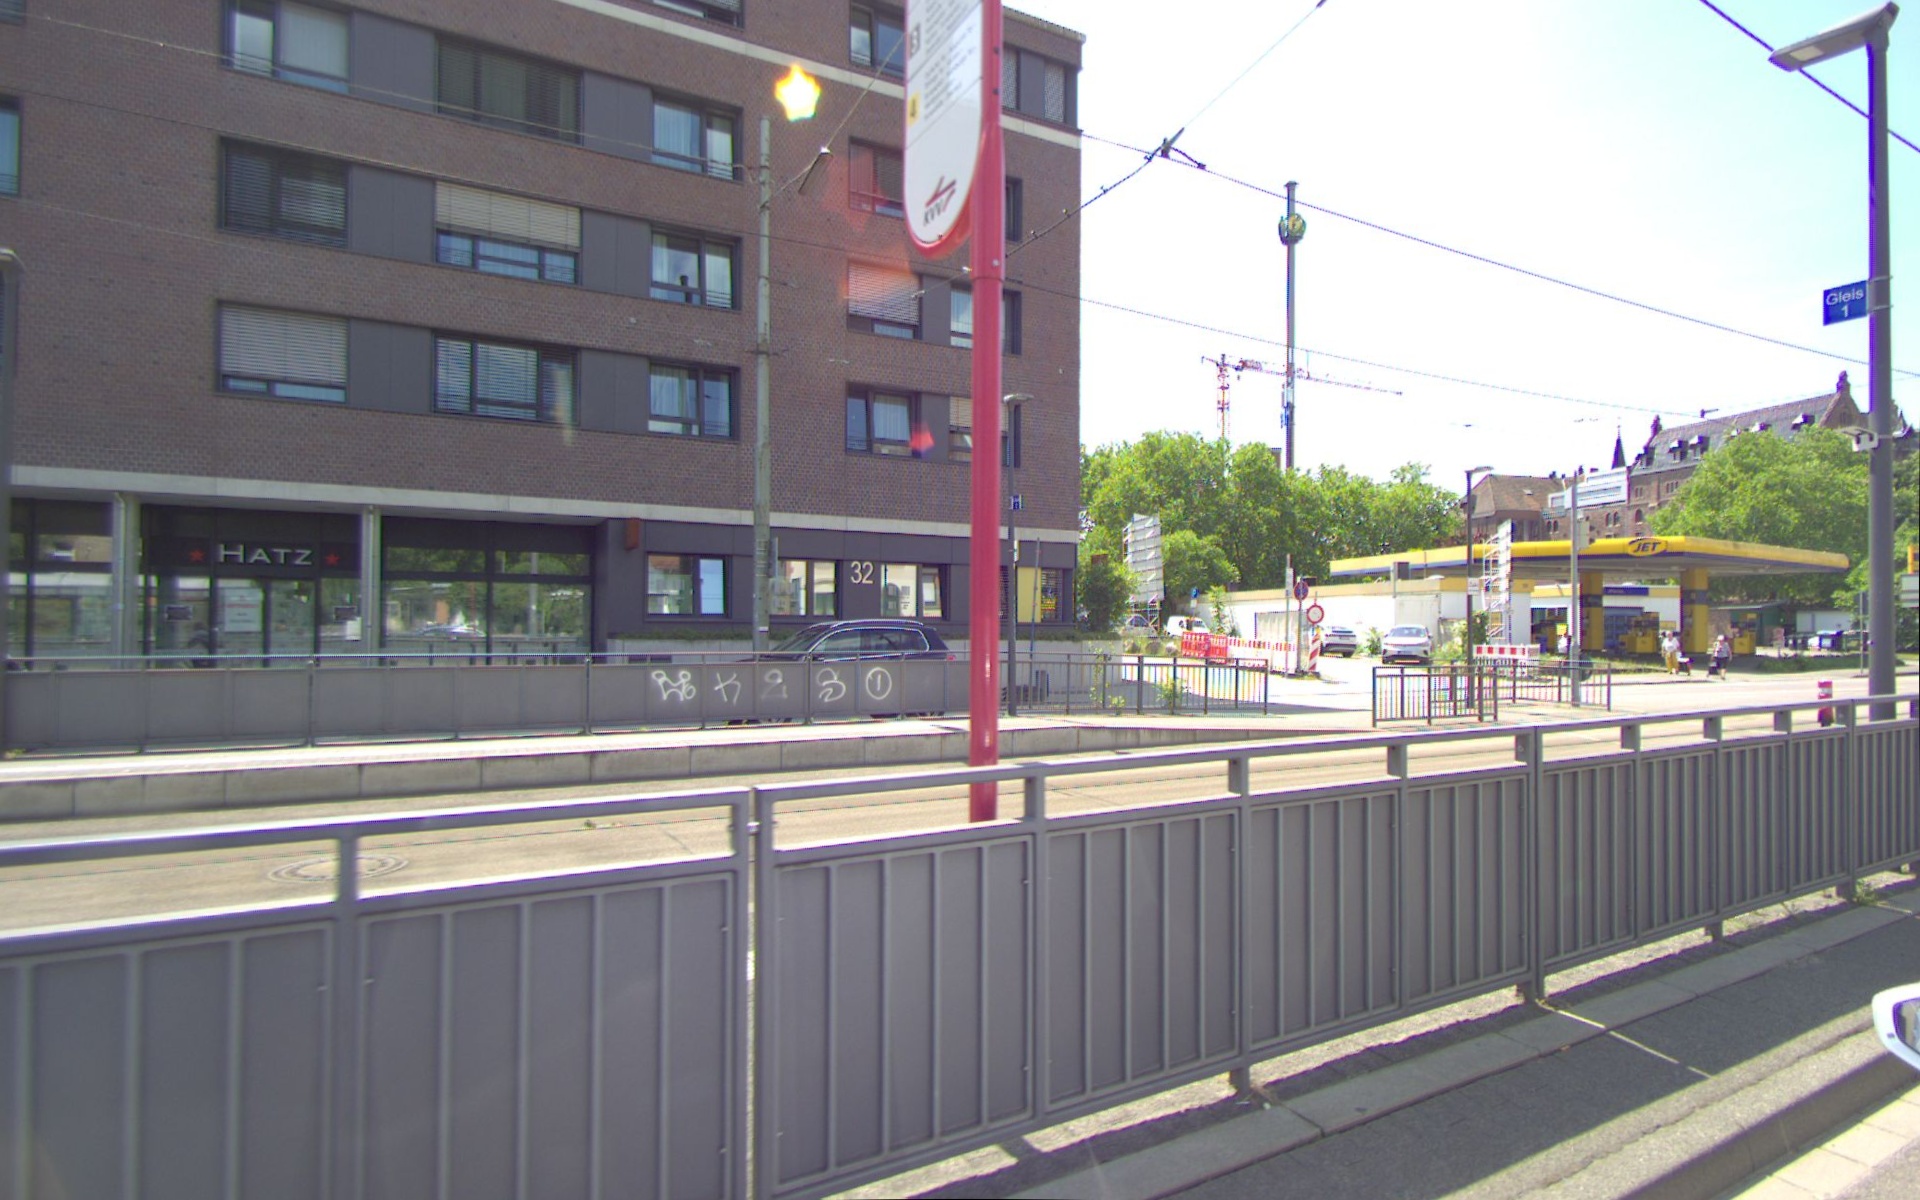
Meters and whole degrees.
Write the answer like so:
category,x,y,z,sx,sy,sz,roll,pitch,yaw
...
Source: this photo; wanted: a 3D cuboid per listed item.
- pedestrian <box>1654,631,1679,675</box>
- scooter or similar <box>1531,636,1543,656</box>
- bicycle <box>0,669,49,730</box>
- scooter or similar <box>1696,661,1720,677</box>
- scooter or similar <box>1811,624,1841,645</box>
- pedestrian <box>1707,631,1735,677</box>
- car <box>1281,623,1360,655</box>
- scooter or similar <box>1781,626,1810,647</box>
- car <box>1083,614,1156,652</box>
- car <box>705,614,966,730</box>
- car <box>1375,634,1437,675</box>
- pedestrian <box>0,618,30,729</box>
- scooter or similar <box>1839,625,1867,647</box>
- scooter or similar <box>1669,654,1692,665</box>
category,x,y,z,sx,sy,sz,roll,pitch,yaw
pedestrian,27.188,2.019,38.634,0.664,1.680,0.550,1,-1,-29
scooter or similar,27.283,2.162,47.522,0.323,0.942,0.403,1,-1,-33
bicycle,-12.461,1.274,12.821,1.172,0.771,0.291,2,-4,-28
scooter or similar,28.138,2.592,37.776,0.622,0.588,0.475,1,-1,-25
scooter or similar,61.073,2.446,70.839,1.044,1.486,1.310,2,-2,-24
pedestrian,28.038,1.978,37.014,0.659,1.693,0.578,1,-1,-28
car,17.581,1.861,49.158,1.729,1.482,4.006,1,-1,-14
scooter or similar,60.682,2.621,72.963,1.044,1.486,1.310,1,-2,-24
car,8.889,1.816,55.874,3.919,2.040,2.001,0,-1,10
car,-1.957,1.122,15.996,3.729,1.648,1.828,2,-4,-31
car,18.507,2.277,41.808,2.017,1.588,4.001,-1,-4,19
pedestrian,-12.405,0.938,12.899,0.529,1.402,0.434,2,-3,-28
scooter or similar,61.526,2.478,69.204,1.047,1.486,1.167,2,-2,-30
scooter or similar,27.875,2.290,38.864,0.664,0.400,0.471,1,-1,-29
